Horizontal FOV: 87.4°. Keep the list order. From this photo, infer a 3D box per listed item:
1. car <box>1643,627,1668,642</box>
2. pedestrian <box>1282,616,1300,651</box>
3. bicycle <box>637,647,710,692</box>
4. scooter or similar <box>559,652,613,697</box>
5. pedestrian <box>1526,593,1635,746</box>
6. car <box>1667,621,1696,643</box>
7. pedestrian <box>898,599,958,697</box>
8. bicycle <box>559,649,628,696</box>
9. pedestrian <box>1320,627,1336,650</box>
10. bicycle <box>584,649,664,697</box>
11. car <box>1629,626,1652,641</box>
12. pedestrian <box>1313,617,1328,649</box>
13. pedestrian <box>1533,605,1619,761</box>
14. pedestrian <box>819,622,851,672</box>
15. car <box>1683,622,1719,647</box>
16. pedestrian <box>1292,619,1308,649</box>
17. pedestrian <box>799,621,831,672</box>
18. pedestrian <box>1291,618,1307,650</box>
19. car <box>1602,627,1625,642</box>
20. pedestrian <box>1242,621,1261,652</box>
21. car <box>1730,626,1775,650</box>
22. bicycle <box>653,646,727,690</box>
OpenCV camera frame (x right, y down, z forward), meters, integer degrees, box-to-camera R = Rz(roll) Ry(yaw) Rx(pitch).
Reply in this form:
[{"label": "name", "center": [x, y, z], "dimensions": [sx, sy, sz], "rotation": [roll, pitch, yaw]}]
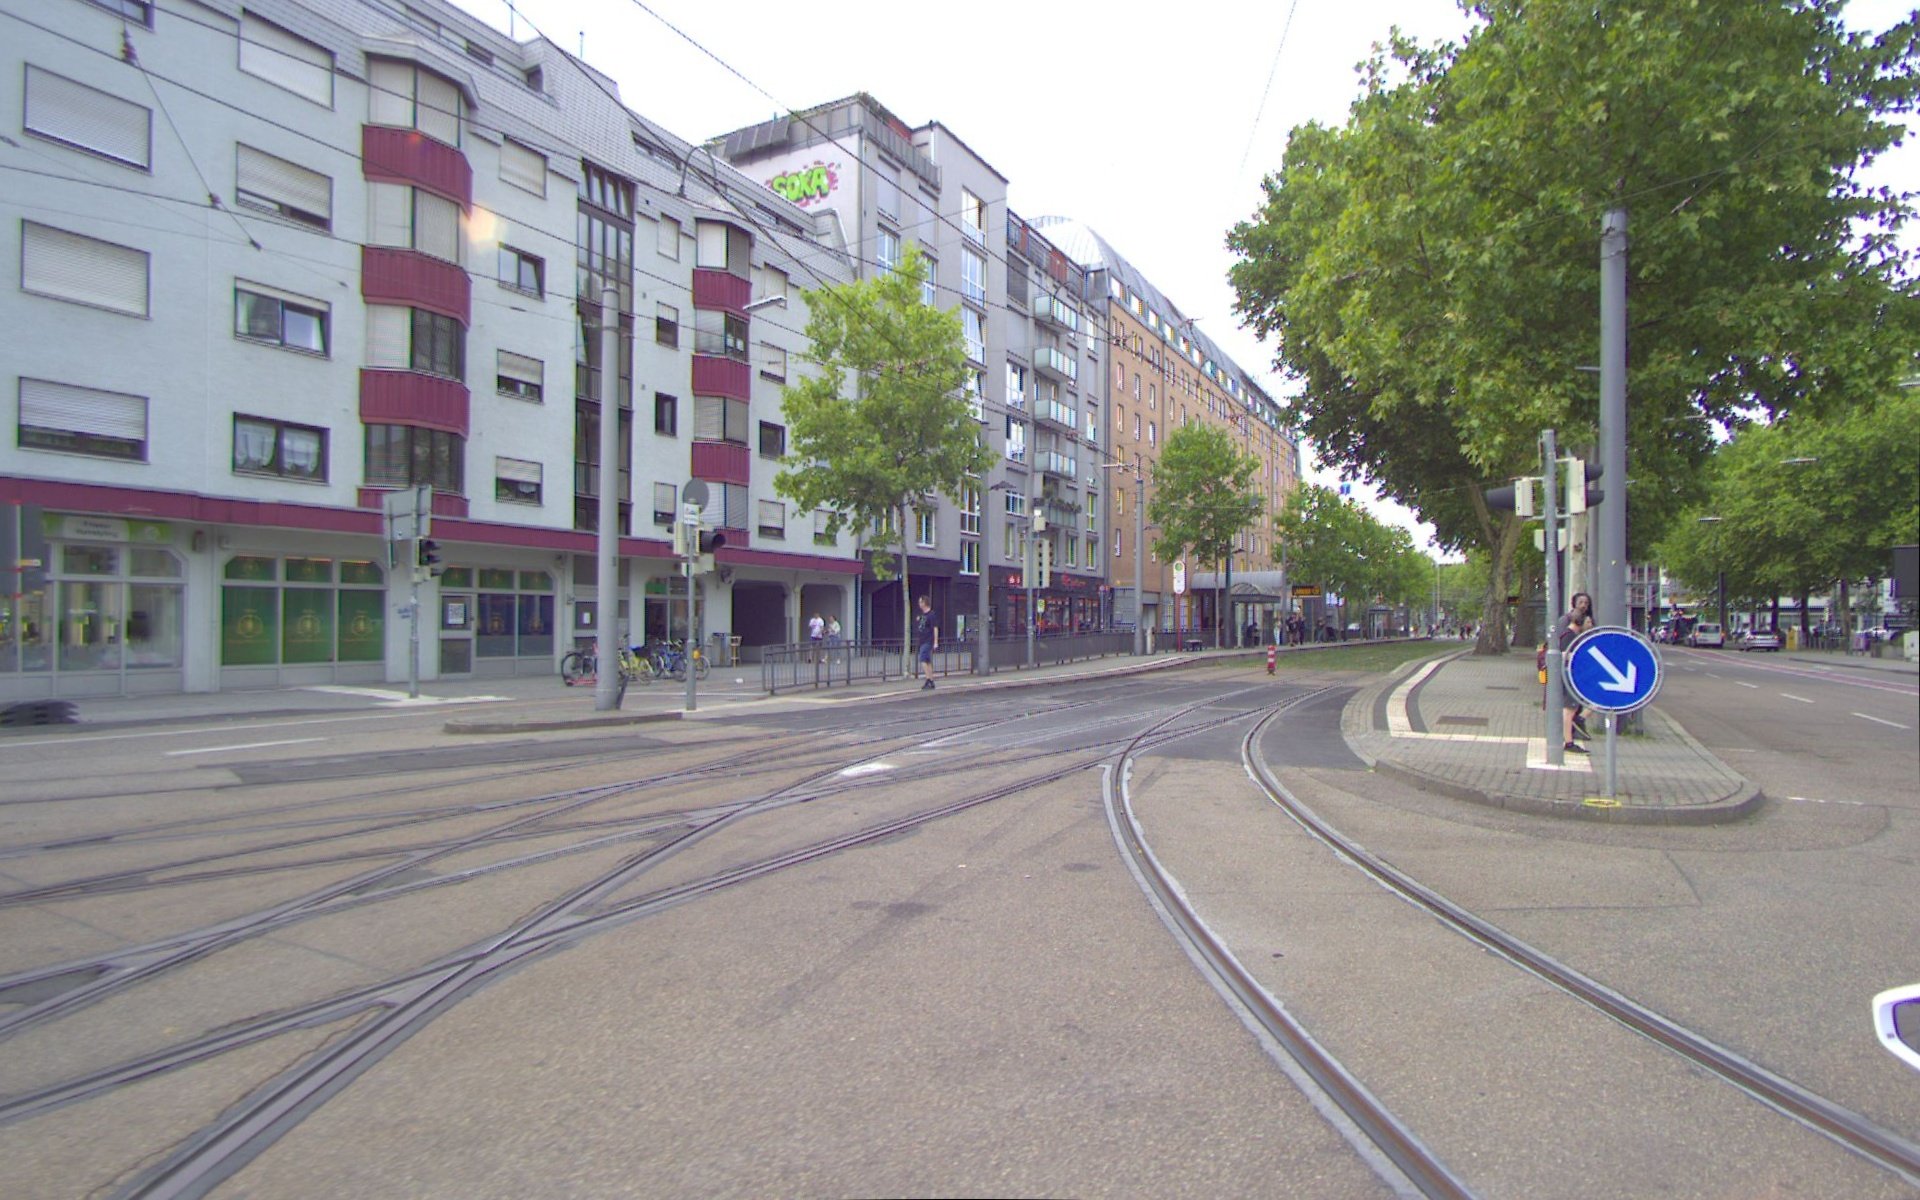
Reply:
[{"label": "car", "center": [69.112, 3.434, 99.861], "dimensions": [1.809, 1.541, 4.166], "rotation": [-1, -2, 31]}, {"label": "pedestrian", "center": [17.867, 1.805, 54.198], "dimensions": [0.802, 1.912, 0.784], "rotation": [-1, -2, 27]}, {"label": "bicycle", "center": [-7.625, 1.836, 26.752], "dimensions": [1.848, 1.032, 0.627], "rotation": [2, 0, 24]}, {"label": "scooter or similar", "center": [-9.012, 1.790, 24.204], "dimensions": [1.151, 1.001, 0.351], "rotation": [3, -1, 7]}, {"label": "pedestrian", "center": [7.896, 0.868, 12.814], "dimensions": [0.825, 1.880, 0.844], "rotation": [1, -2, -10]}, {"label": "car", "center": [65.290, 2.888, 90.943], "dimensions": [1.809, 1.928, 4.166], "rotation": [-1, -2, 31]}, {"label": "pedestrian", "center": [-0.661, 0.970, 20.355], "dimensions": [0.989, 1.924, 0.800], "rotation": [1, -2, -24]}, {"label": "bicycle", "center": [-9.104, 1.790, 24.927], "dimensions": [1.698, 1.032, 0.479], "rotation": [2, 0, 24]}, {"label": "pedestrian", "center": [25.764, 2.711, 70.324], "dimensions": [0.979, 1.621, 0.850], "rotation": [-1, -2, 28]}, {"label": "bicycle", "center": [-8.490, 1.813, 25.341], "dimensions": [2.143, 1.032, 0.626], "rotation": [2, 0, 31]}, {"label": "car", "center": [71.609, 3.571, 105.708], "dimensions": [1.809, 1.541, 4.166], "rotation": [-1, -2, 31]}, {"label": "pedestrian", "center": [23.504, 2.155, 65.417], "dimensions": [0.802, 2.019, 0.784], "rotation": [-1, -2, 28]}, {"label": "pedestrian", "center": [7.082, 0.927, 11.539], "dimensions": [0.754, 1.693, 0.934], "rotation": [-1, -2, 37]}, {"label": "pedestrian", "center": [-4.477, 1.666, 35.901], "dimensions": [0.747, 1.757, 0.895], "rotation": [-1, -1, 32]}, {"label": "car", "center": [58.918, 2.774, 79.913], "dimensions": [1.863, 1.928, 4.120], "rotation": [-1, -2, 31]}, {"label": "pedestrian", "center": [21.311, 2.129, 62.936], "dimensions": [0.802, 1.912, 0.784], "rotation": [-1, -2, 27]}, {"label": "pedestrian", "center": [-5.202, 1.651, 36.175], "dimensions": [0.747, 1.798, 0.895], "rotation": [-1, -1, 32]}, {"label": "pedestrian", "center": [20.404, 2.031, 60.461], "dimensions": [0.802, 1.912, 0.784], "rotation": [-1, -2, 27]}, {"label": "car", "center": [66.388, 3.514, 102.103], "dimensions": [1.809, 1.567, 4.206], "rotation": [-1, -2, 31]}, {"label": "pedestrian", "center": [14.992, 1.878, 51.680], "dimensions": [0.802, 1.557, 0.784], "rotation": [-1, -2, 27]}, {"label": "car", "center": [55.620, 2.662, 70.541], "dimensions": [1.853, 1.603, 4.317], "rotation": [0, -1, 30]}, {"label": "bicycle", "center": [-7.367, 1.839, 27.400], "dimensions": [1.848, 1.032, 0.710], "rotation": [2, 0, 24]}]
